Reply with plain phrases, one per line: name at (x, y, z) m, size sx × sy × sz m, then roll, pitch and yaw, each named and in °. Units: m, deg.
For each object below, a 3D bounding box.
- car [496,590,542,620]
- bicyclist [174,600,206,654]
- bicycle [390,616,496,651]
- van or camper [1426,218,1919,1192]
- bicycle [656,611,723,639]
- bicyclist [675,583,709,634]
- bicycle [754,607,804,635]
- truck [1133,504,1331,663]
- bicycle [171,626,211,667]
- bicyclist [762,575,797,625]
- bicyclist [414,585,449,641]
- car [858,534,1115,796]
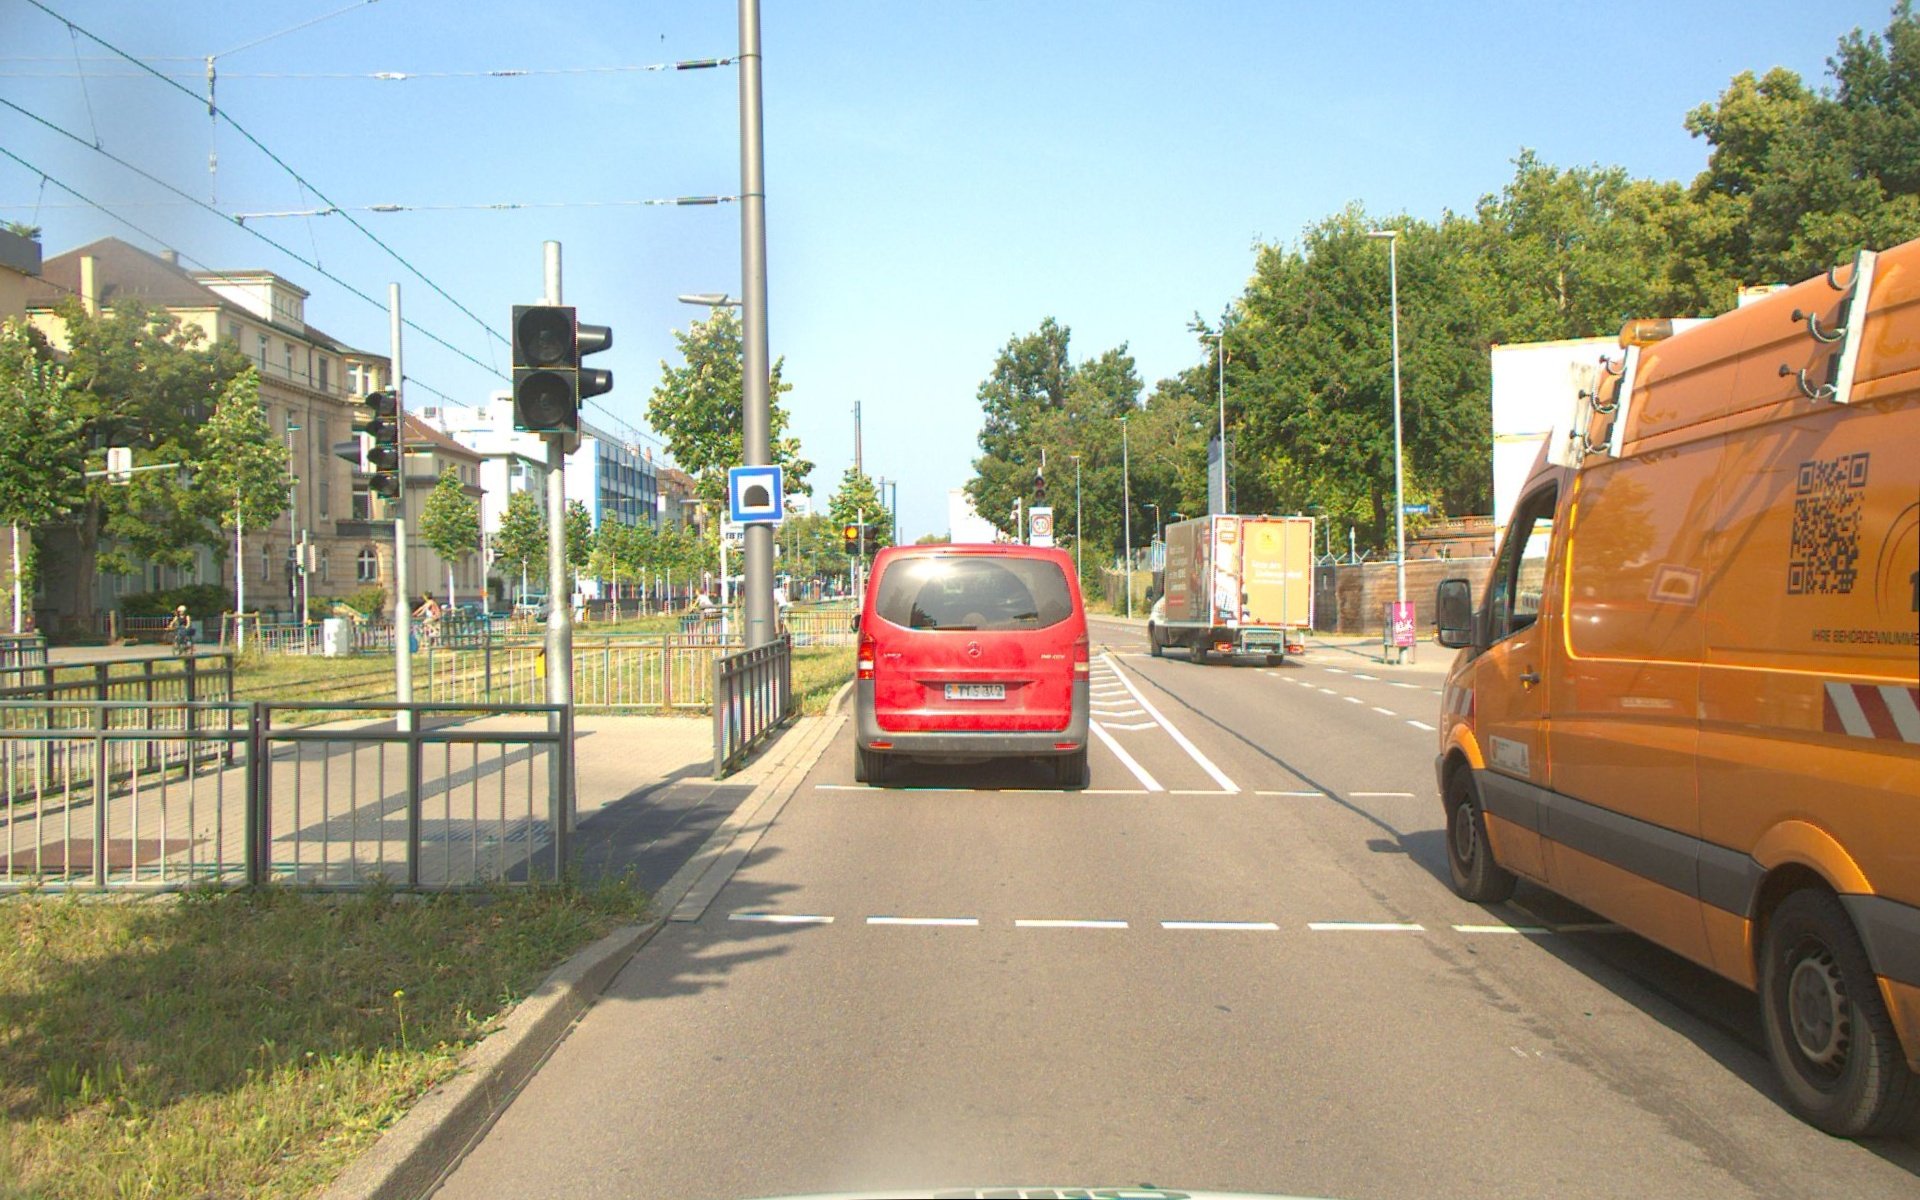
car at (-33.094, 0.382, 124.152) m, size 2.204 × 2.049 × 5.260 m, roll 1°, pitch -2°, yaw -3°
bicyclist at (-26.750, 0.936, 57.501) m, size 0.656 × 1.837 × 1.082 m, roll -1°, pitch 0°, yaw -6°
bicycle at (-15.435, 0.989, 49.479) m, size 2.935 × 0.982 × 0.898 m, roll -1°, pitch 0°, yaw -12°
van or camper at (3.515, 0.256, 6.242) m, size 1.945 × 2.515 × 6.063 m, roll 1°, pitch 1°, yaw 2°
bicycle at (-8.290, 0.768, 50.767) m, size 1.957 × 0.807 × 0.629 m, roll -1°, pitch 0°, yaw -4°
bicyclist at (-8.220, 0.265, 50.765) m, size 0.964 × 1.526 × 0.620 m, roll -1°, pitch 0°, yaw -4°
bicycle at (-5.376, 0.628, 49.129) m, size 0.704 × 0.812 × 1.602 m, roll 1°, pitch 0°, yaw 27°
truck at (5.839, -0.309, 36.808) m, size 2.453 × 3.114 × 7.811 m, roll 1°, pitch 0°, yaw -5°
bicycle at (-26.739, 1.610, 57.537) m, size 0.681 × 1.369 × 1.755 m, roll -1°, pitch 0°, yaw -6°
bicyclist at (-5.362, 0.006, 49.130) m, size 0.672 × 1.465 × 0.805 m, roll 1°, pitch -1°, yaw 27°
bicyclist at (-15.788, 0.378, 49.417) m, size 0.874 × 1.657 × 0.889 m, roll -1°, pitch 0°, yaw -12°
car at (0.168, 0.466, 14.090) m, size 1.862 × 1.892 × 3.999 m, roll 1°, pitch 0°, yaw -1°
